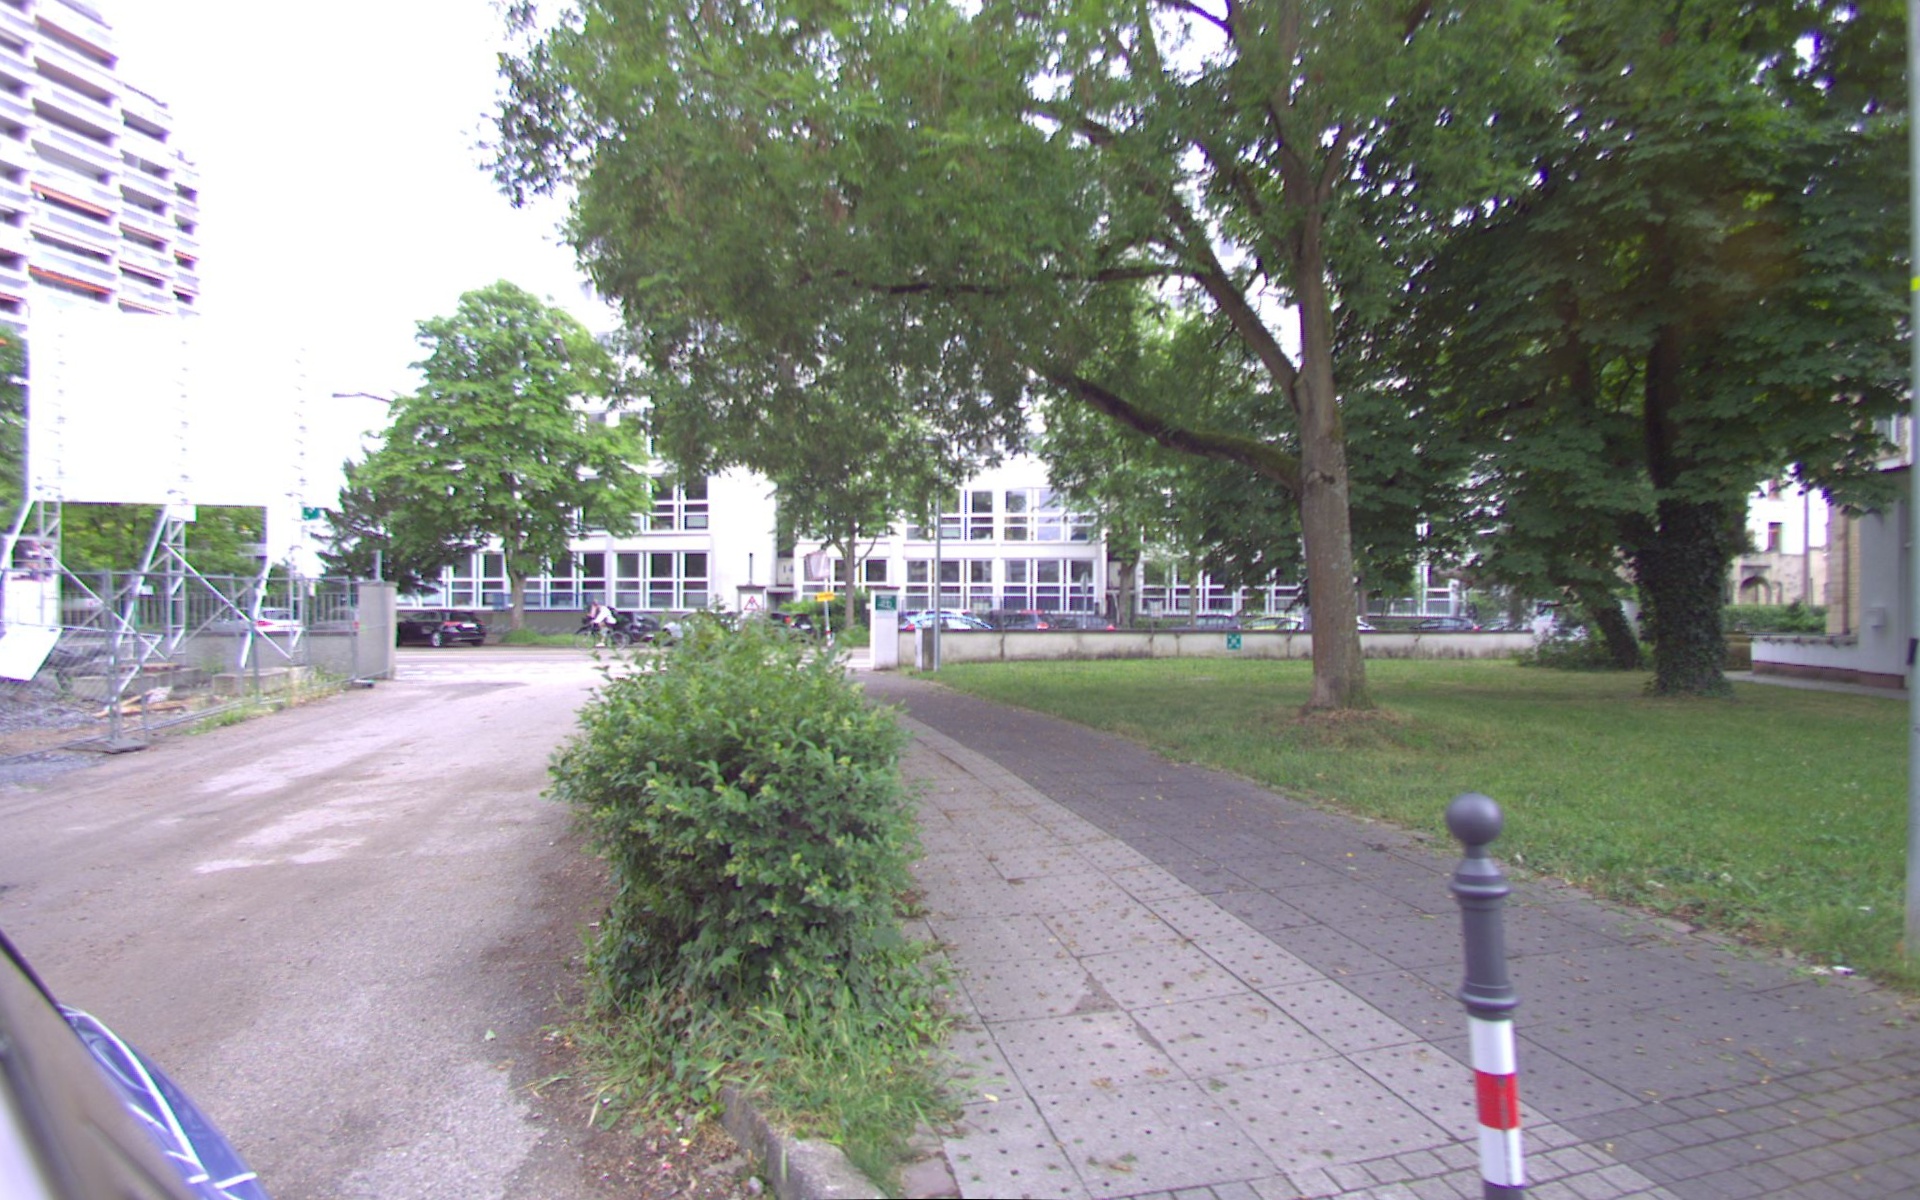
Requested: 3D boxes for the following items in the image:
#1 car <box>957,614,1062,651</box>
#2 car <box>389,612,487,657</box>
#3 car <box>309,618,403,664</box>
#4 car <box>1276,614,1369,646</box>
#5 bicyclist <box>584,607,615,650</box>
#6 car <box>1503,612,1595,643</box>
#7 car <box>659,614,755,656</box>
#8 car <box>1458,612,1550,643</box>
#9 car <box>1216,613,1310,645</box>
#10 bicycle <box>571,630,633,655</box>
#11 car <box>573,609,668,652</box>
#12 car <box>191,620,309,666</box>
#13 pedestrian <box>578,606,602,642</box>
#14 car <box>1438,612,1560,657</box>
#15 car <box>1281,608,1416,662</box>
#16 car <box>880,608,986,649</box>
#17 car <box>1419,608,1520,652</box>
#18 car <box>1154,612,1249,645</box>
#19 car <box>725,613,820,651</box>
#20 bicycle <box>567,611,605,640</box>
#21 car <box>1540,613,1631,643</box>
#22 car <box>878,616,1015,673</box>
[{"bbox_3d":[2.158,1.387,44.278,4.330,1.465,1.682,1,1,31],"label":"car"},{"bbox_3d":[-19.844,1.258,38.451,3.693,1.535,1.682,1,1,32],"label":"car"},{"bbox_3d":[-22.576,1.497,37.803,3.639,1.535,1.556,1,1,32],"label":"car"},{"bbox_3d":[17.319,1.408,48.439,3.954,1.362,1.682,1,1,31],"label":"car"},{"bbox_3d":[-12.928,1.018,36.300,1.009,1.512,0.848,0,-1,-19],"label":"bicyclist"},{"bbox_3d":[30.224,1.382,52.006,1.672,1.396,3.727,0,1,-38],"label":"car"},{"bbox_3d":[-10.354,1.388,41.278,4.023,1.495,1.678,1,1,38],"label":"car"},{"bbox_3d":[27.349,1.334,50.946,1.672,1.396,3.727,0,1,-38],"label":"car"},{"bbox_3d":[14.312,1.358,47.817,3.954,1.362,1.682,1,1,31],"label":"car"},{"bbox_3d":[-12.801,1.506,36.232,2.102,0.875,0.472,0,-1,-18],"label":"bicycle"},{"bbox_3d":[-13.652,1.193,40.643,3.693,1.535,1.682,1,1,32],"label":"car"},{"bbox_3d":[-26.077,1.525,37.164,4.413,1.476,1.786,1,0,29],"label":"car"},{"bbox_3d":[-16.816,1.083,45.958,0.746,1.623,0.733,2,1,7],"label":"pedestrian"},{"bbox_3d":[16.500,1.030,31.013,3.124,1.312,1.518,0,-1,-17],"label":"car"},{"bbox_3d":[11.427,1.008,29.819,3.505,1.492,1.484,0,1,-15],"label":"car"},{"bbox_3d":[-1.174,1.198,43.808,4.325,1.567,1.684,1,1,27],"label":"car"},{"bbox_3d":[25.198,1.451,50.111,1.968,2.029,4.007,1,0,-40],"label":"car"},{"bbox_3d":[11.212,1.306,47.018,3.954,1.362,1.682,1,1,31],"label":"car"},{"bbox_3d":[-7.848,1.312,42.244,4.023,1.416,1.678,1,1,38],"label":"car"},{"bbox_3d":[-16.799,1.149,45.456,1.571,1.278,0.406,0,-1,-5],"label":"bicycle"},{"bbox_3d":[32.833,1.442,53.171,1.672,1.396,3.727,0,1,-38],"label":"car"},{"bbox_3d":[-0.386,1.191,27.397,3.374,1.472,1.684,0,-2,-15],"label":"car"}]
